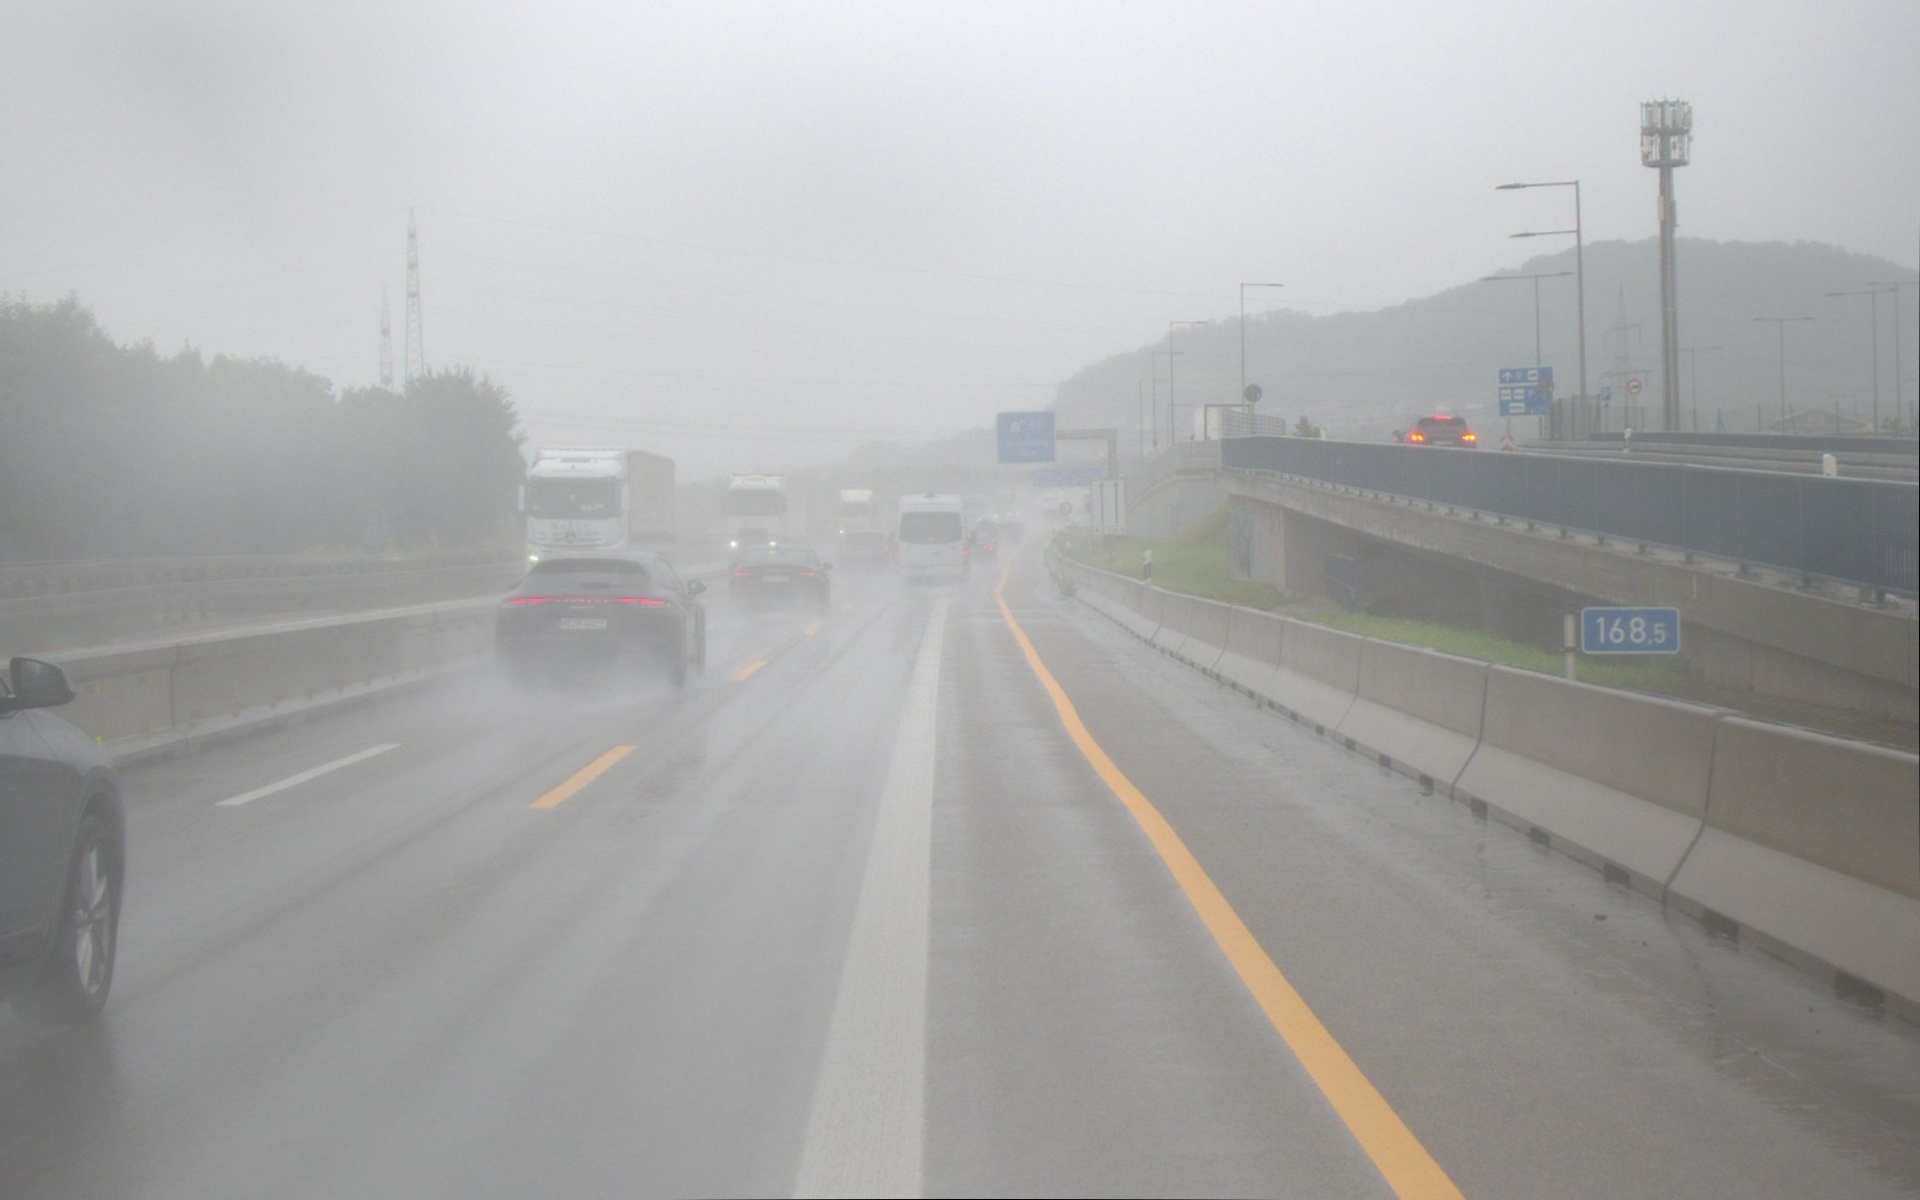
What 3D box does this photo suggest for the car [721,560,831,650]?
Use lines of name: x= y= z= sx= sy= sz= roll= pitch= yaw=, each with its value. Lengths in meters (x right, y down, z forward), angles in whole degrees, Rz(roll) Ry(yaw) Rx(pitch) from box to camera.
car: x=-3.396 y=0.070 z=64.169 sx=1.844 sy=1.486 sz=4.262 roll=-2 pitch=2 yaw=-1

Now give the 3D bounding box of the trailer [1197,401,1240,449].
trailer: x=14.881 y=-10.056 z=198.472 sx=1.994 sy=2.099 sz=13.767 roll=0 pitch=0 yaw=2

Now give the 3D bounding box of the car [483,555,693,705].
car: x=-3.897 y=0.291 z=36.661 sx=1.844 sy=1.486 sz=4.262 roll=0 pitch=0 yaw=-1

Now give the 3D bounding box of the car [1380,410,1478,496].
car: x=12.570 y=-3.936 z=92.407 sx=1.993 sy=2.135 sz=4.000 roll=0 pitch=0 yaw=-1

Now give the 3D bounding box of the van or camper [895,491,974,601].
van or camper: x=-0.683 y=-1.386 z=89.546 sx=1.996 sy=2.768 sz=4.050 roll=0 pitch=0 yaw=-1

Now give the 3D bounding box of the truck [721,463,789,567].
truck: x=-9.330 y=-3.815 z=156.904 sx=2.560 sy=4.587 sz=6.452 roll=0 pitch=0 yaw=1

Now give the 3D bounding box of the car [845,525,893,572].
car: x=-3.095 y=-1.754 z=117.669 sx=1.566 sy=1.475 sz=2.822 roll=-2 pitch=0 yaw=-1

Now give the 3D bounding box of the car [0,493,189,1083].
car: x=-3.443 y=0.508 z=9.309 sx=1.701 sy=1.592 sz=4.846 roll=0 pitch=1 yaw=-1
